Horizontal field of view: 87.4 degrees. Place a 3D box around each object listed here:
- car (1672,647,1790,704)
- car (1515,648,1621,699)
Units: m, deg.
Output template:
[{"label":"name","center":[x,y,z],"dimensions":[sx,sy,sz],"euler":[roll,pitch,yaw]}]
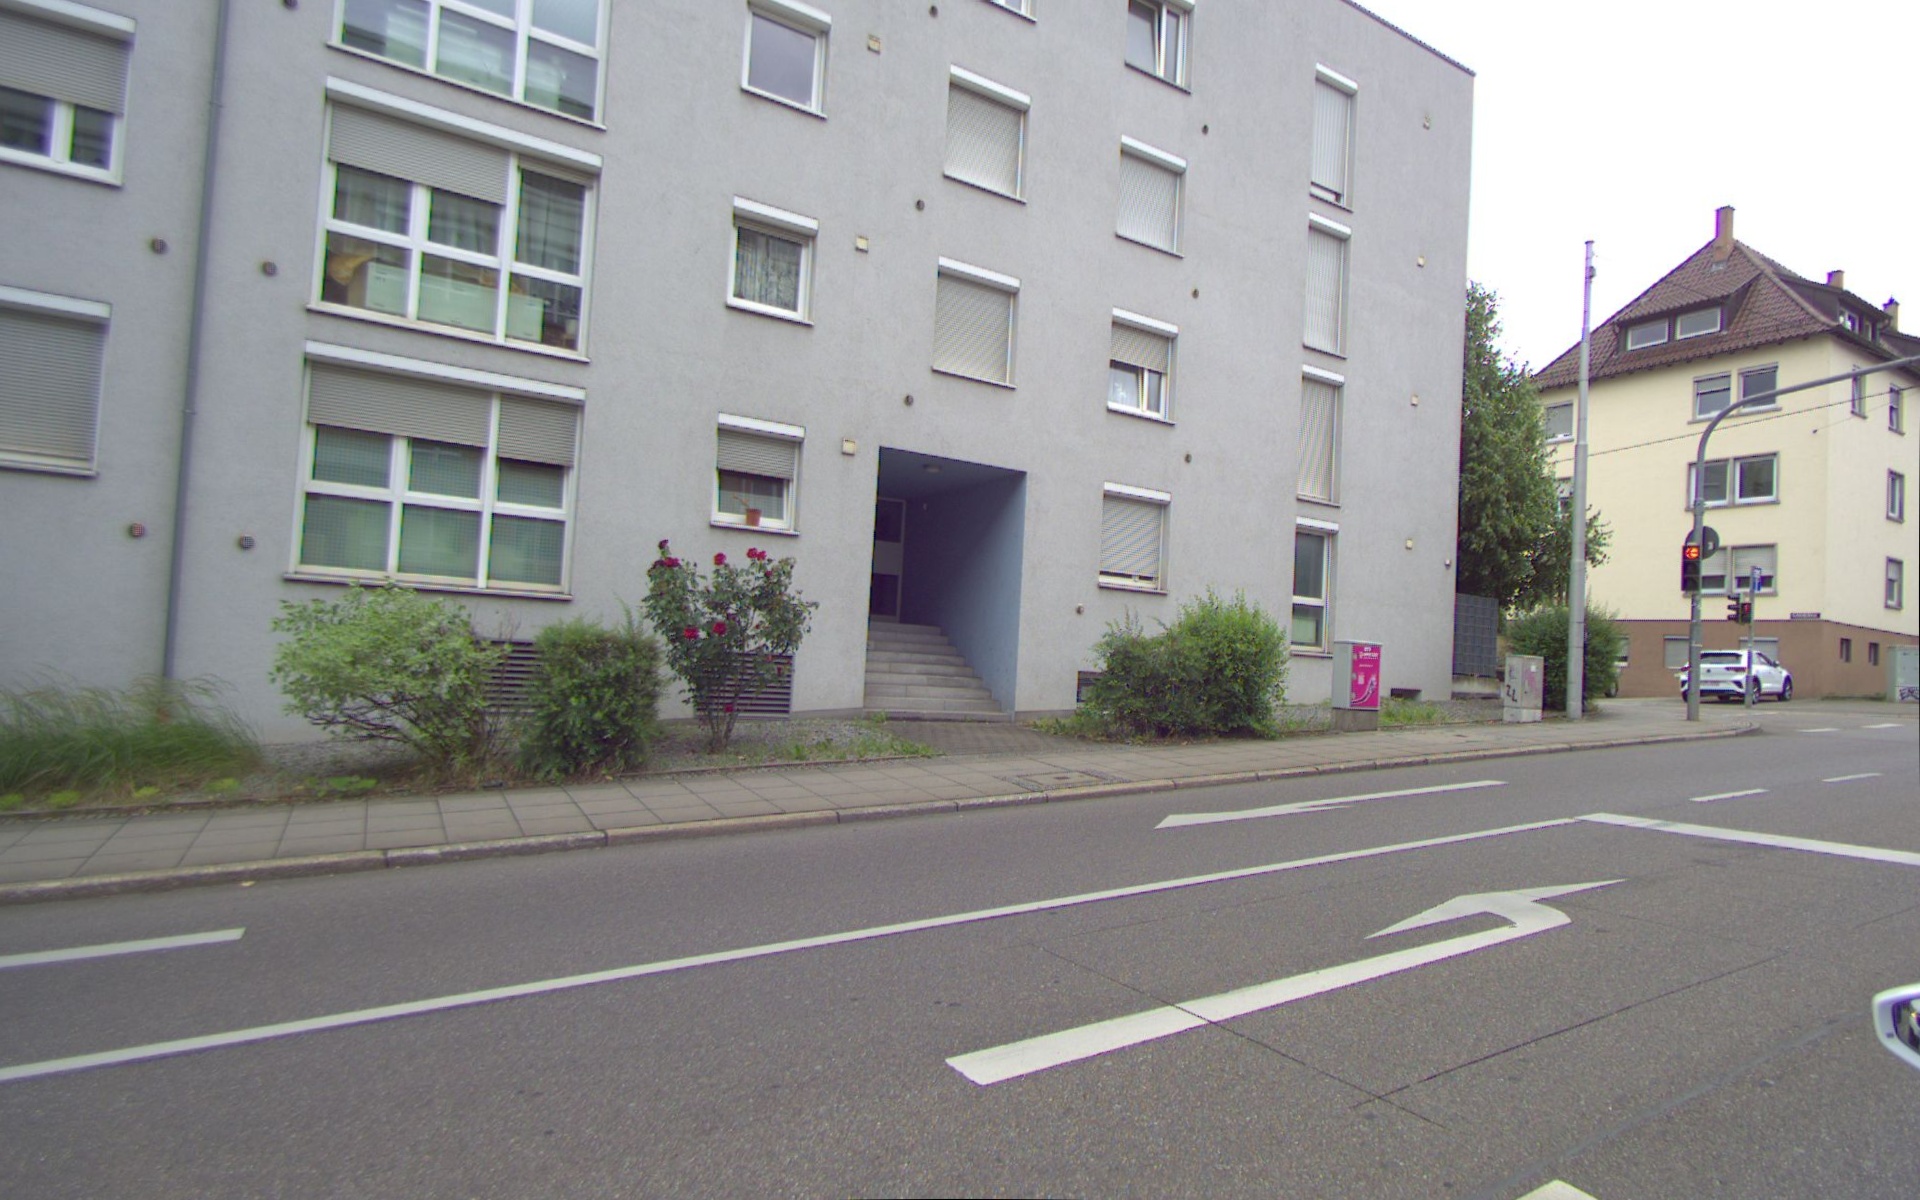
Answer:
[{"label":"car","center":[23.040,2.205,29.998],"dimensions":[3.727,1.575,1.681],"euler":[1,-4,-34]},{"label":"car","center":[20.927,2.493,34.532],"dimensions":[3.727,1.629,1.681],"euler":[1,-4,-34]}]
